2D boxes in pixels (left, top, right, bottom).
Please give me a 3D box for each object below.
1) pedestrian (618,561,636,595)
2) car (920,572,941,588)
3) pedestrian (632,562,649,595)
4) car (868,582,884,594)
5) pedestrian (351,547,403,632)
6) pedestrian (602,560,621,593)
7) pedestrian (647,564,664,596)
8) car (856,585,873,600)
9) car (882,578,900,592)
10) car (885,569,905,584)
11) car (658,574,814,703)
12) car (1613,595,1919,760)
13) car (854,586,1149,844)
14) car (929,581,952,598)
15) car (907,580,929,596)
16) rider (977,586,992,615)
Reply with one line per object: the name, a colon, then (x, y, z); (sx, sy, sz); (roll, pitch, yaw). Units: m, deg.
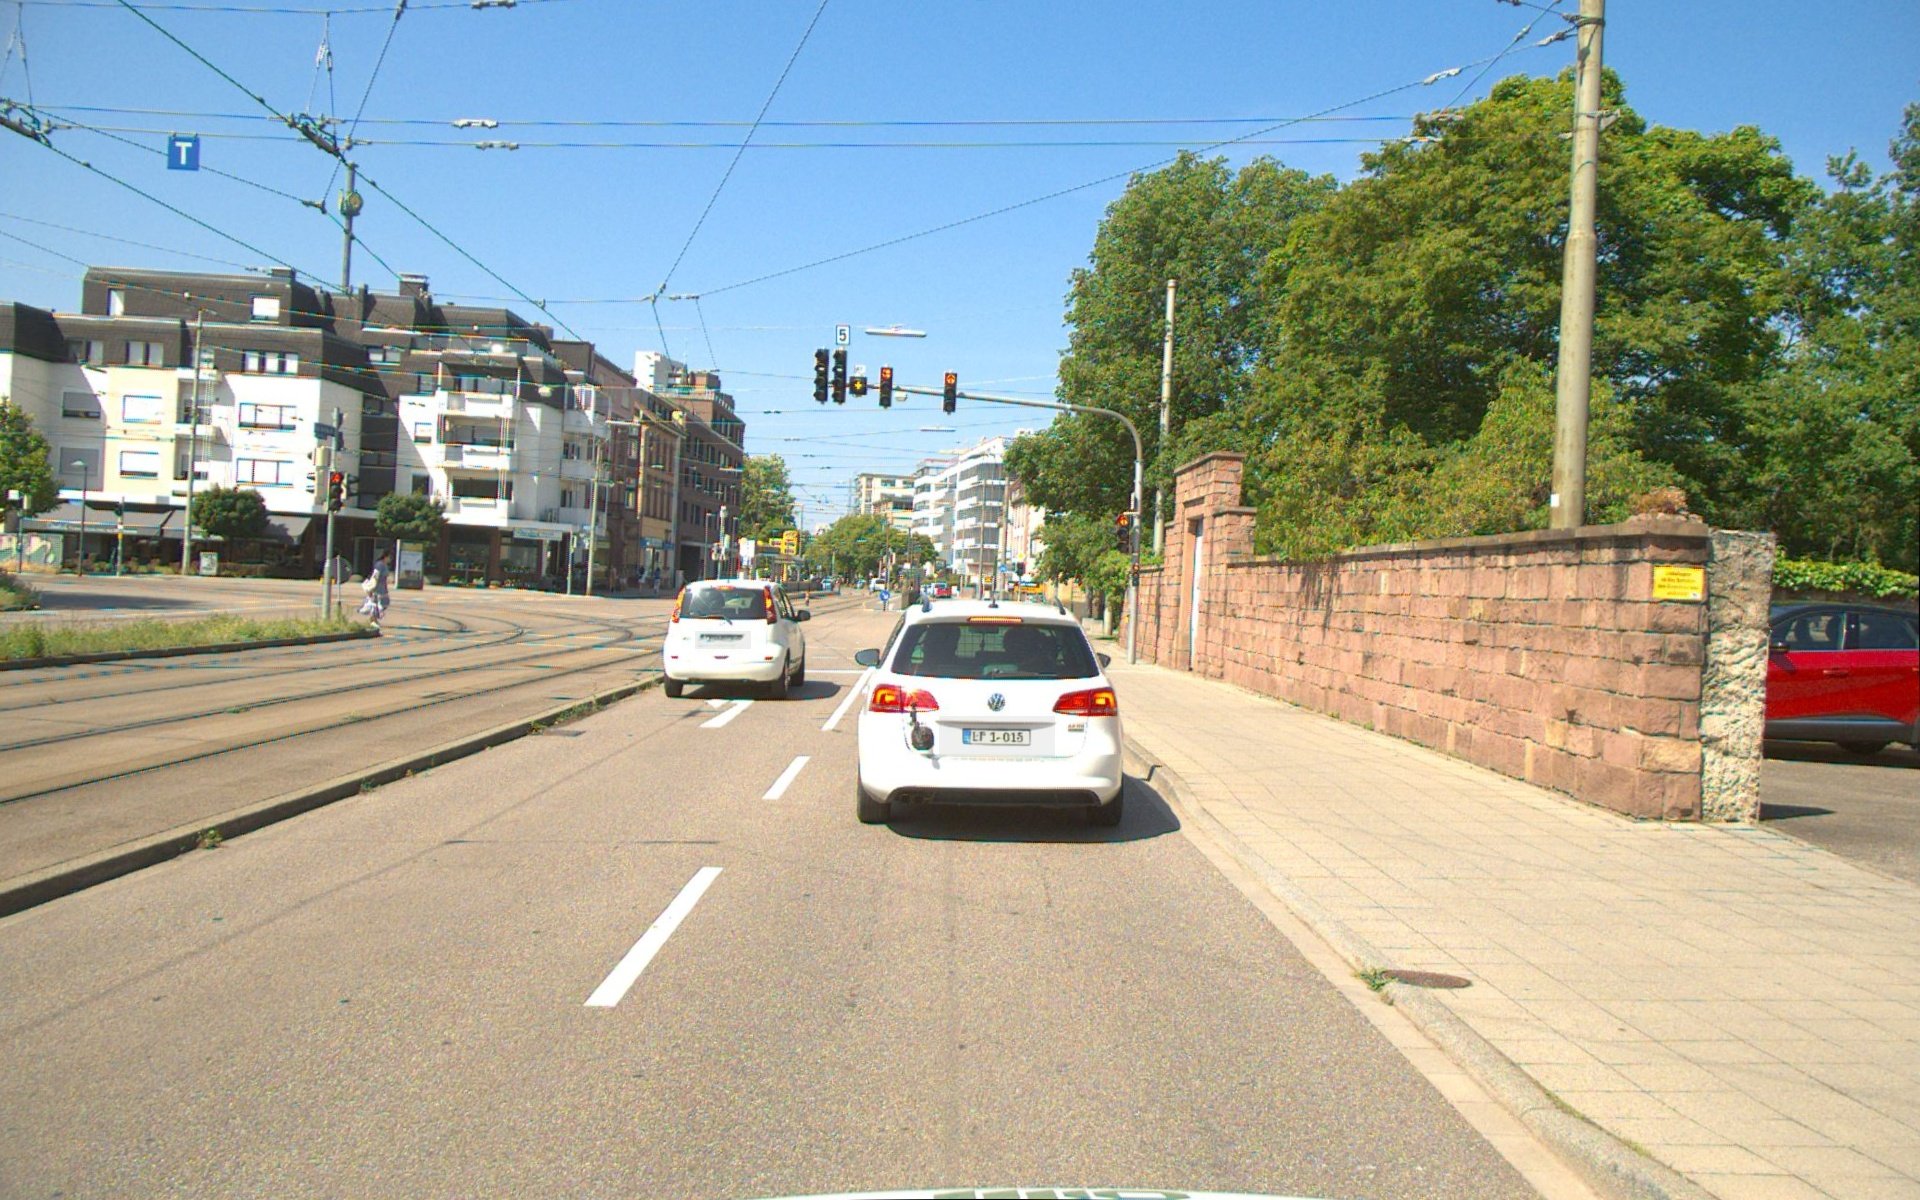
pedestrian: (-20.551, -1.366, 102.181); (0.918, 2.049, 0.989); (2, 0, -6)
car: (-4.062, -2.726, 227.640); (1.960, 2.048, 3.986); (2, 0, -14)
pedestrian: (-20.343, -1.353, 105.329); (0.919, 2.049, 0.989); (2, 0, -8)
car: (-11.651, -1.658, 229.506); (1.668, 1.618, 3.526); (2, 0, -11)
pedestrian: (-12.575, -0.227, 35.691); (0.811, 1.769, 0.930); (2, 0, -8)
pedestrian: (-21.511, -1.446, 102.047); (0.918, 2.049, 0.990); (2, 0, -5)
pedestrian: (-20.385, -1.341, 110.752); (0.918, 2.049, 0.989); (2, 0, -6)
car: (-10.744, -0.830, 186.482); (1.664, 1.619, 3.534); (2, 0, -2)
car: (-10.573, -2.260, 253.595); (1.960, 2.048, 3.986); (2, 0, -14)
car: (-9.806, -3.599, 248.435); (1.961, 2.048, 3.983); (5, 0, -16)
car: (-3.092, 0.484, 23.503); (1.695, 1.624, 4.010); (2, 0, -1)
car: (8.683, 0.785, 16.948); (3.339, 1.489, 1.524); (3, 0, -2)
car: (0.286, 0.668, 11.716); (1.742, 1.516, 3.847); (0, 0, 1)
car: (-2.531, -1.330, 213.343); (1.960, 2.048, 3.986); (2, 0, -14)
car: (-5.346, -1.566, 211.499); (1.960, 1.937, 3.986); (2, 0, -14)
rider: (1.542, 0.016, 103.820); (0.873, 1.758, 2.203); (2, 0, 0)
